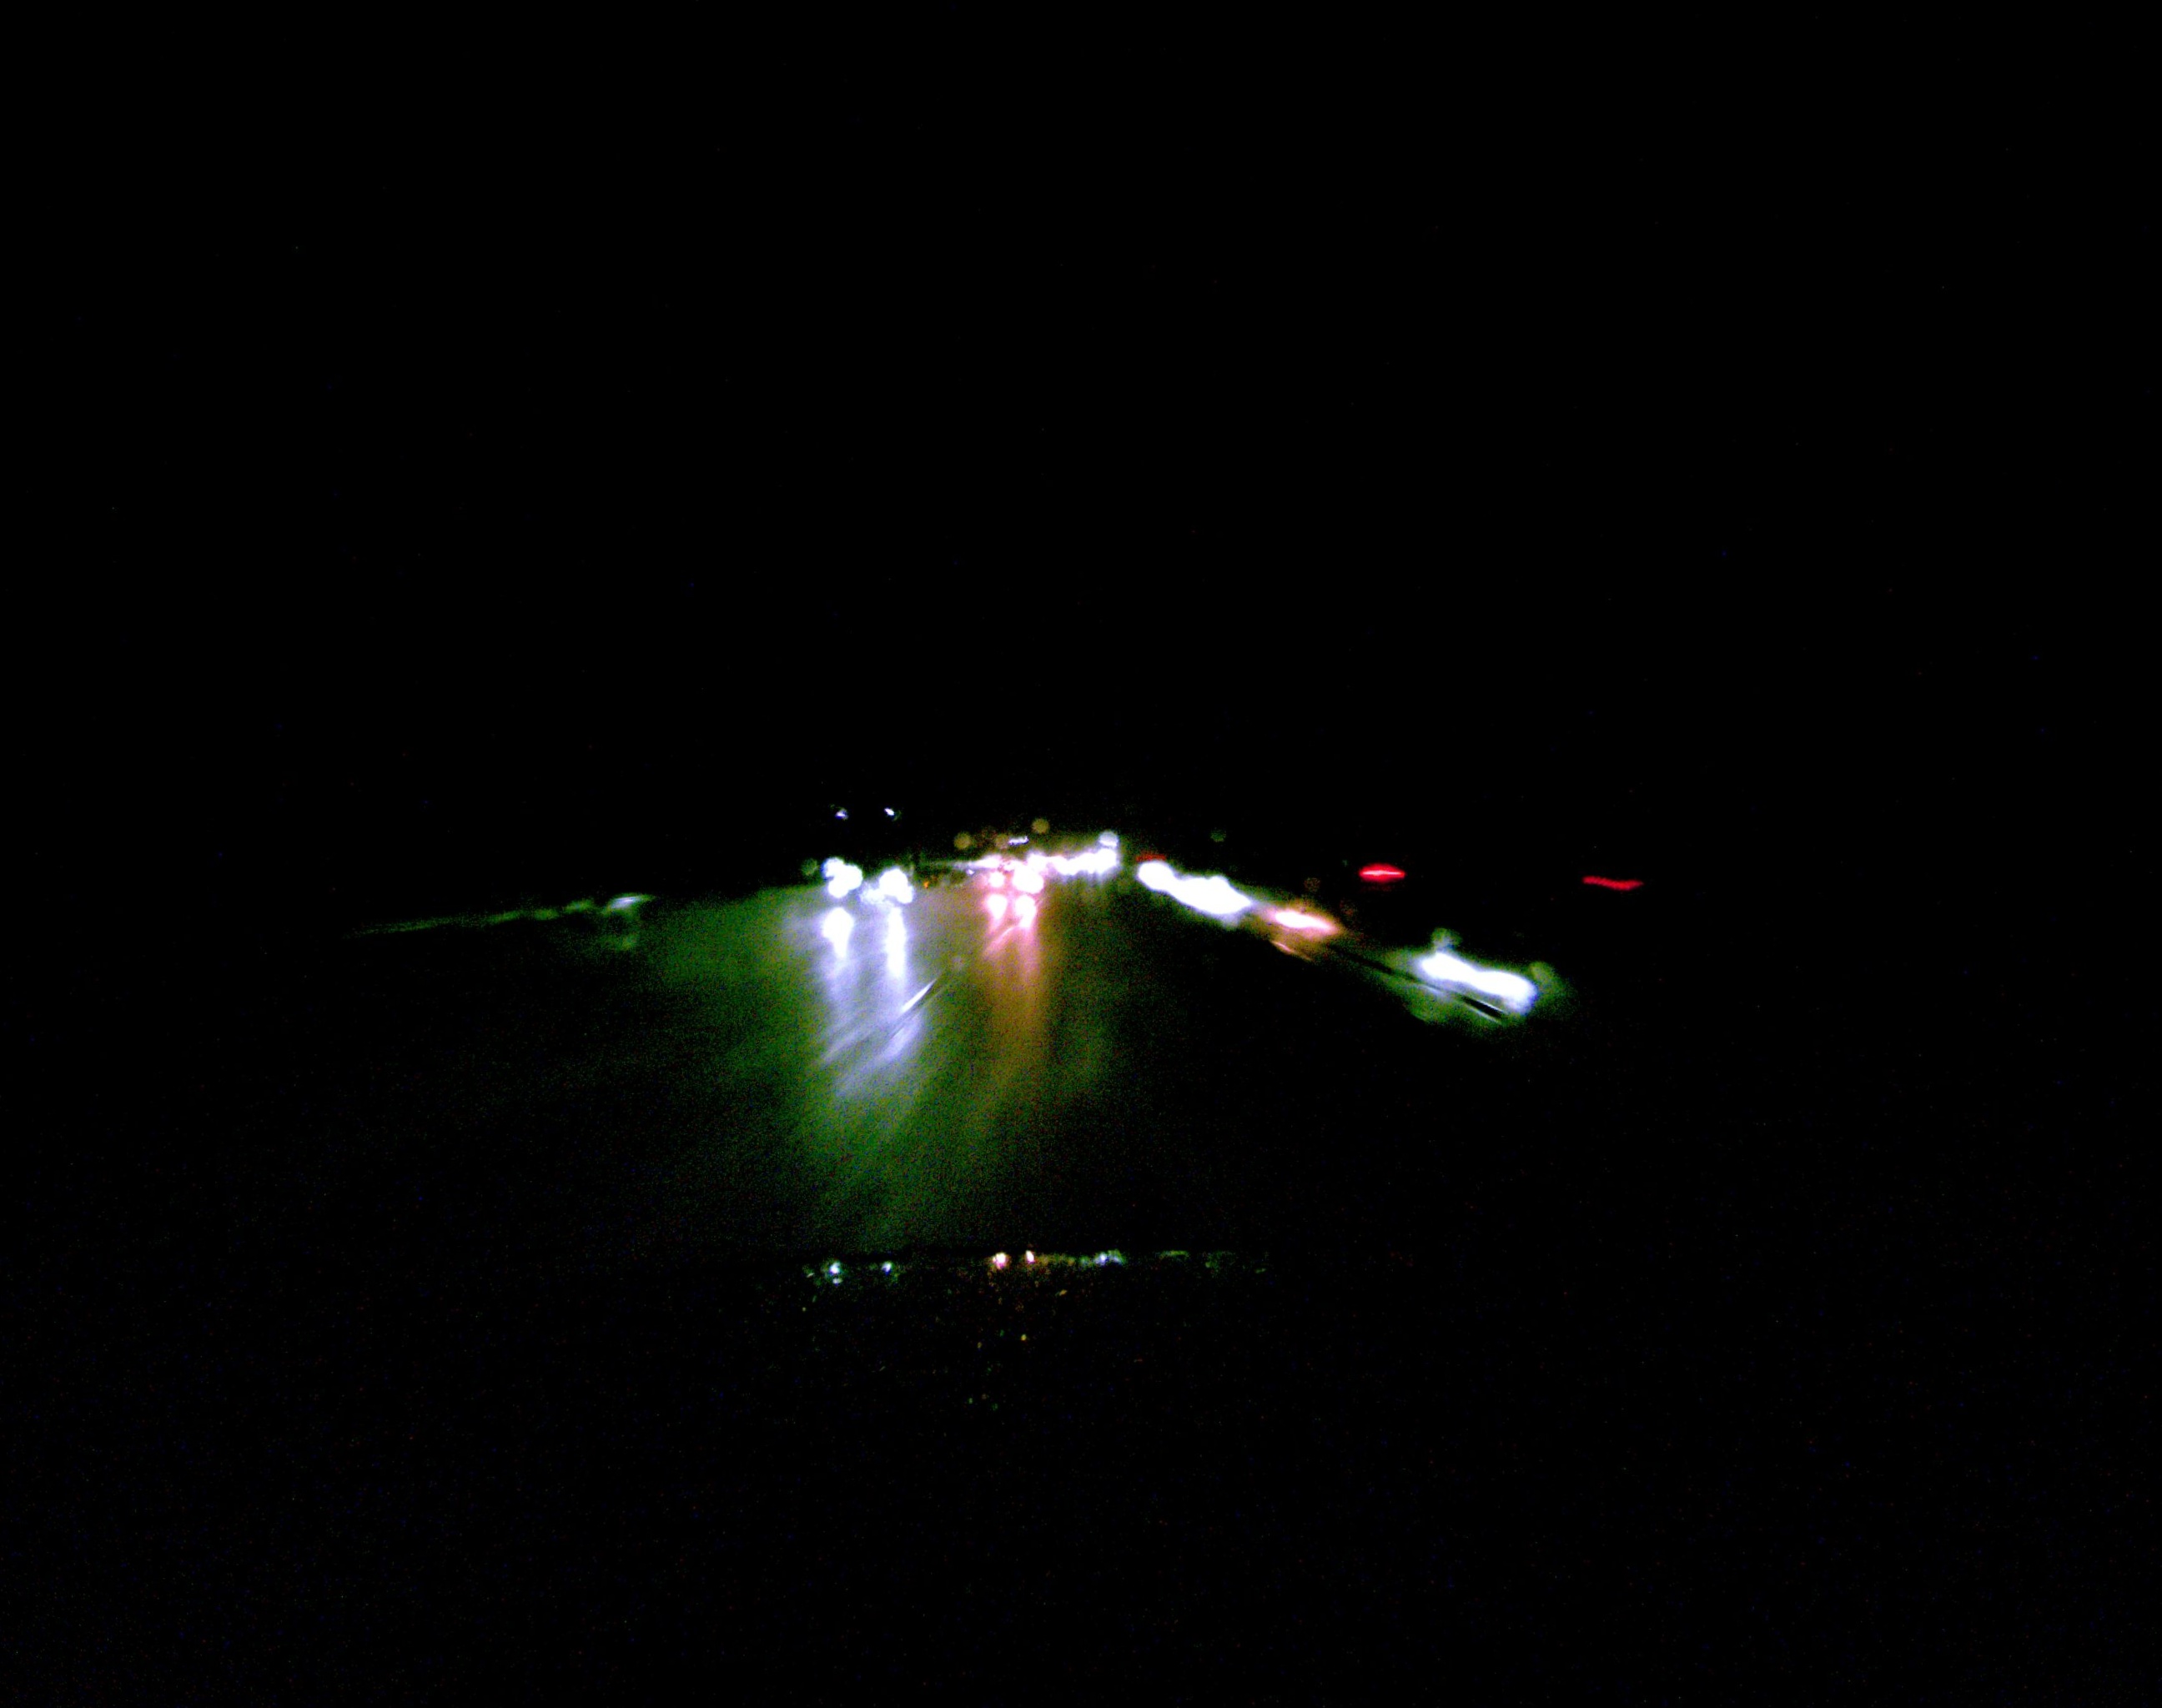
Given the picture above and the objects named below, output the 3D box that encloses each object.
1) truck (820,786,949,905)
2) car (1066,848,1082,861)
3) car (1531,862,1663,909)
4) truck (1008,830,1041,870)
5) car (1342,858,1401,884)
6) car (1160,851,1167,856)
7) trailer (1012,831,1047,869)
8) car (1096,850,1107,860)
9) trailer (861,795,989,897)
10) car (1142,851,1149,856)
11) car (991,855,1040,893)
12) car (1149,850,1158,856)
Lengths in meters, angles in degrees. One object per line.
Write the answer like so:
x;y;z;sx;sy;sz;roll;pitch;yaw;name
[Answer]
-7.550;-0.333;30.342;2.866;4.079;7.014;-2;1;2;truck
-0.888;0.058;102.547;1.944;1.521;4.000;-2;1;2;car
20.920;1.214;31.147;1.897;1.574;5.371;-2;1;2;car
-6.245;-0.425;84.859;2.777;4.168;6.016;-2;1;2;truck
17.095;0.967;44.927;1.787;1.414;4.352;1;1;-1;car
23.651;-0.062;217.084;1.694;1.499;4.272;1;0;2;car
-6.033;-0.466;90.167;2.753;4.168;11.180;-2;0;2;trailer
3.193;0.131;116.211;1.619;1.452;3.767;-2;1;2;car
-7.237;-0.419;38.009;2.871;4.074;13.641;-2;1;2;trailer
20.125;-0.265;236.688;1.738;1.499;3.795;1;0;2;car
-2.871;0.849;33.986;1.619;1.494;3.767;-2;1;2;car
18.226;-0.251;192.099;1.789;1.517;4.380;-2;1;0;car
